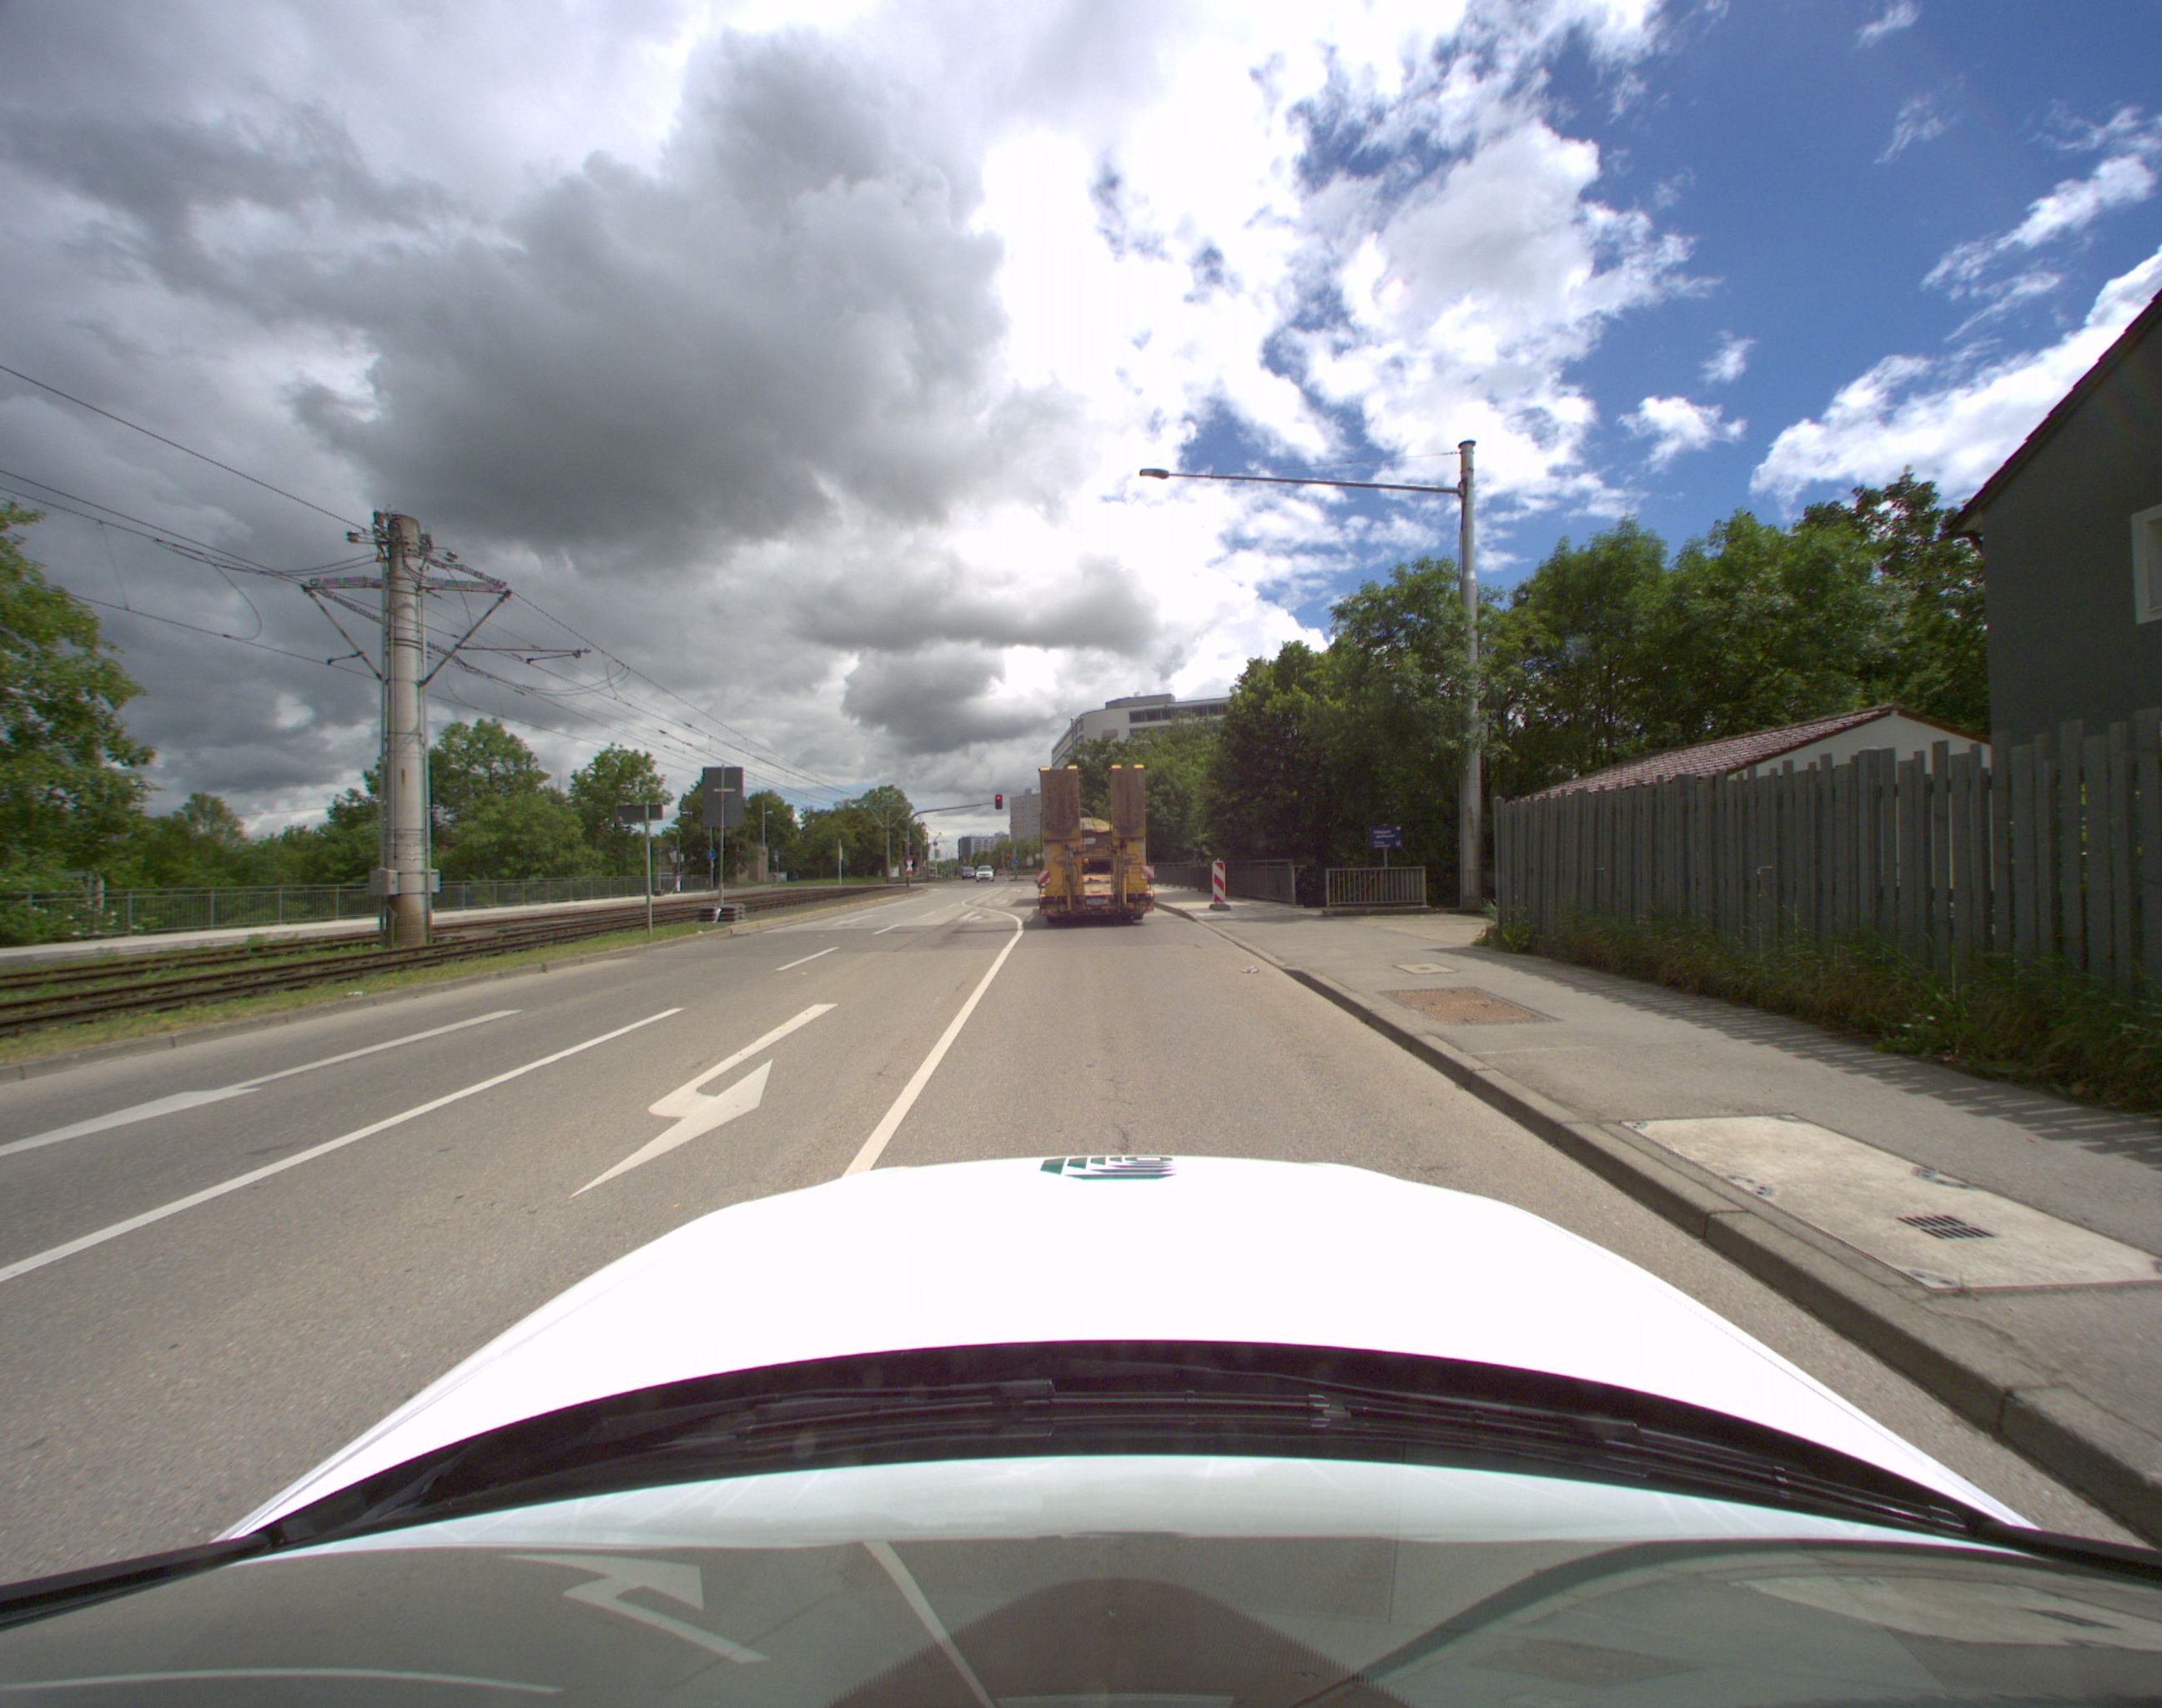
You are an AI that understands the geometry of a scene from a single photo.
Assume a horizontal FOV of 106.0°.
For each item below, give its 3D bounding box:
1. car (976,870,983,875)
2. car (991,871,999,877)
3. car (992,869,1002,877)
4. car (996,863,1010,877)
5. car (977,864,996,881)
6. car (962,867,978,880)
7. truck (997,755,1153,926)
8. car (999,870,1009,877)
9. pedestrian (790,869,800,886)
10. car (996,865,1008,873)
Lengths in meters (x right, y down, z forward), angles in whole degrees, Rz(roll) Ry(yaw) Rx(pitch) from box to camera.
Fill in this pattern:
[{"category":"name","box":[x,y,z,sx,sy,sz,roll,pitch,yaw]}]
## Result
[{"category":"car","box":[-28.604,5.162,229.328,1.781,1.271,4.336,-2,-1,-6]},{"category":"car","box":[-19.394,4.514,183.924,1.781,1.271,4.336,-2,-1,-6]},{"category":"car","box":[-18.485,4.203,179.731,1.990,1.618,3.993,0,-1,-5]},{"category":"car","box":[-11.663,2.395,122.491,1.990,1.926,3.993,0,-1,-5]},{"category":"car","box":[-9.150,1.771,79.208,1.589,1.527,3.650,-2,-1,-3]},{"category":"car","box":[-14.284,2.515,104.794,1.781,1.570,4.336,-2,-1,-6]},{"category":"truck","box":[-0.049,-0.187,23.603,3.305,3.651,12.561,0,-1,1]},{"category":"car","box":[-14.681,3.739,155.377,1.990,1.420,3.993,0,-1,-5]},{"category":"pedestrian","box":[-31.862,2.609,90.577,0.799,1.811,0.808,0,-1,-1]},{"category":"car","box":[-14.119,2.635,145.429,1.990,1.420,3.993,0,-1,-5]}]
